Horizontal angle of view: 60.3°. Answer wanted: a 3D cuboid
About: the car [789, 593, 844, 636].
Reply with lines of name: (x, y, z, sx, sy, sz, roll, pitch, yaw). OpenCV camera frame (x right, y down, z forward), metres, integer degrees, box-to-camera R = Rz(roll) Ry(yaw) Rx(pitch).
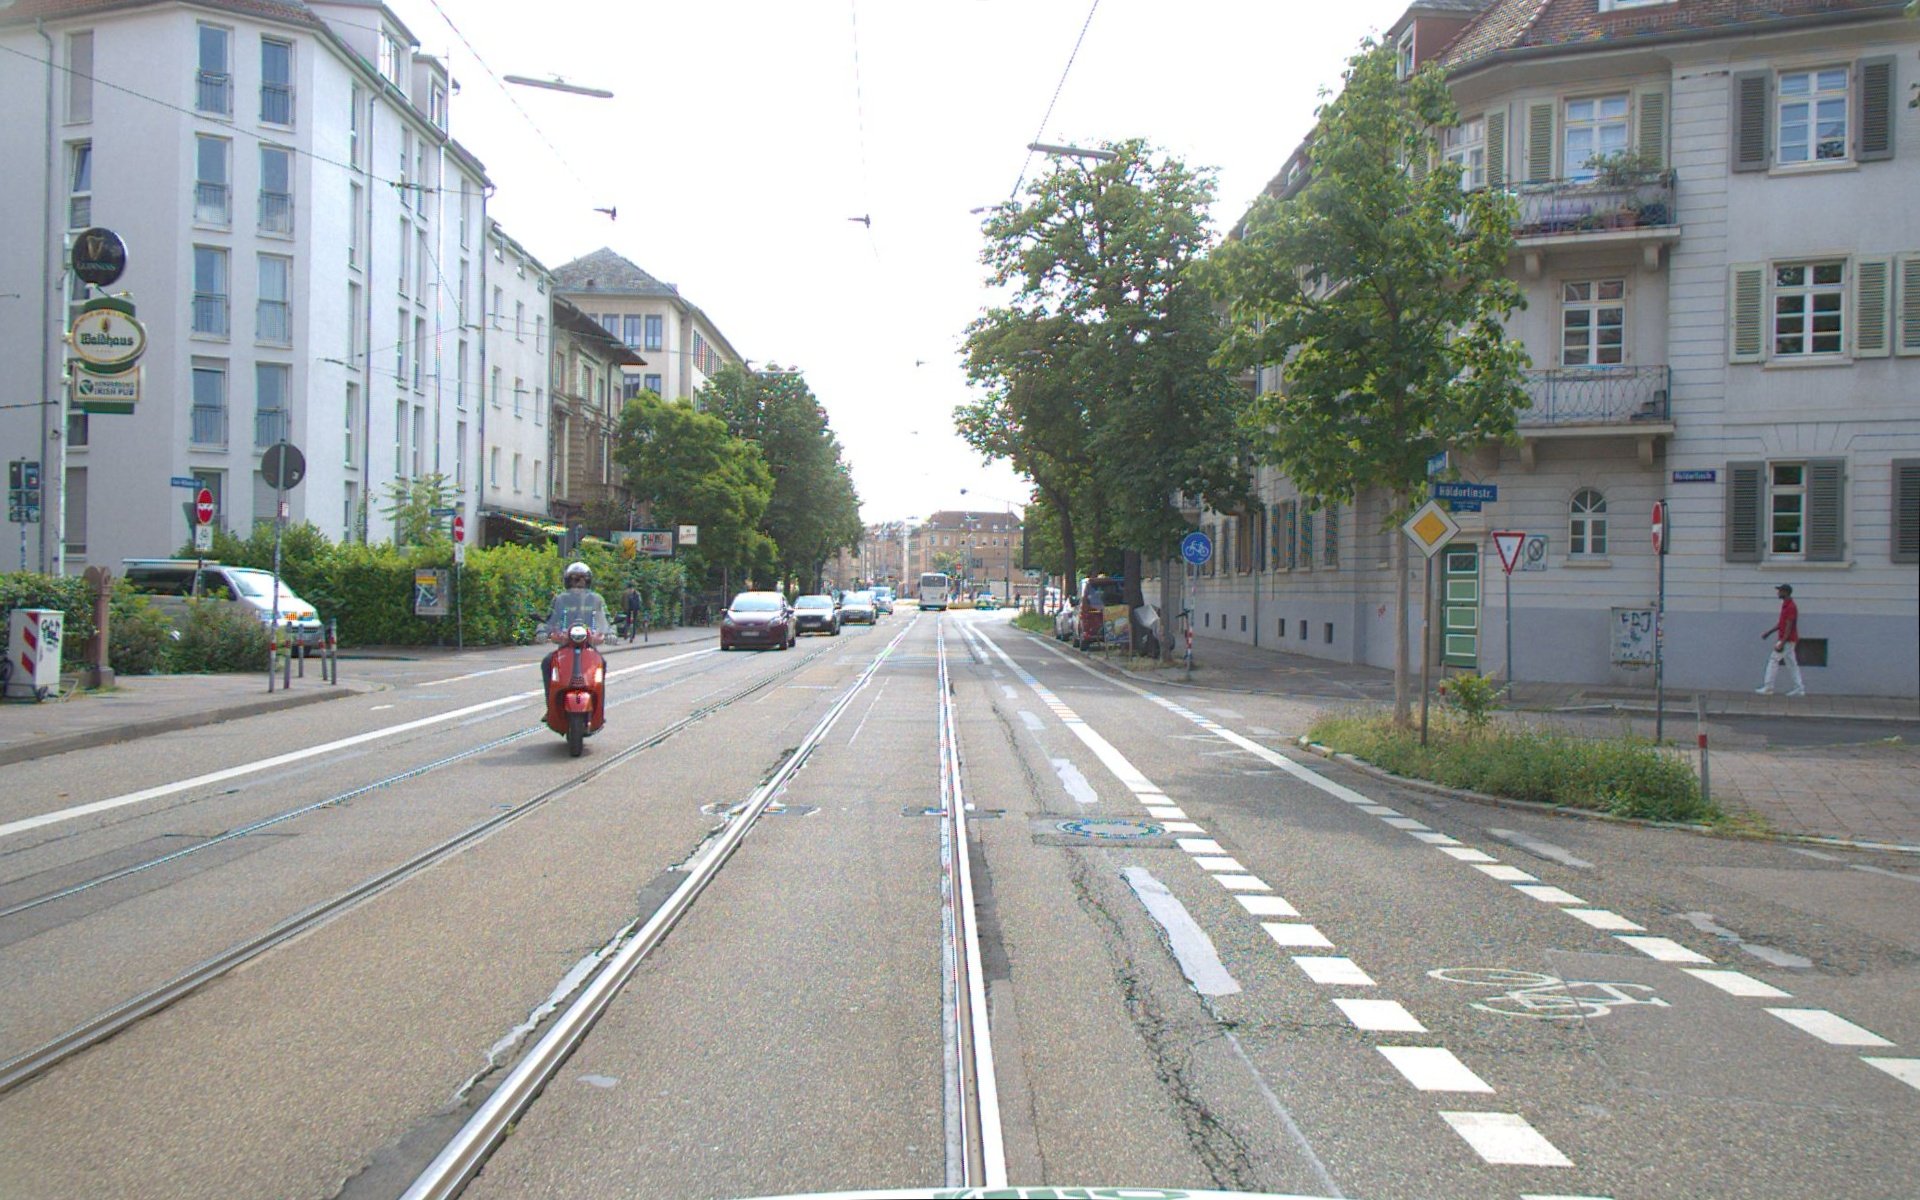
car: (-4.959, 0.474, 57.733, 1.595, 1.431, 4.128, 1, 0, -1)

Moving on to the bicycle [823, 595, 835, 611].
bicycle: (-9.660, 0.198, 121.661, 0.590, 1.116, 2.023, -5, 0, 2)

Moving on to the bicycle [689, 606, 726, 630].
bicycle: (-10.896, 0.765, 71.461, 1.119, 0.924, 2.988, 4, 0, -1)

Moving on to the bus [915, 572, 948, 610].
bus: (-2.684, -0.764, 154.543, 2.859, 3.386, 12.202, 2, 0, -1)

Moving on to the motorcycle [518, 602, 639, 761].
motorcycle: (-3.537, 0.715, 15.503, 0.724, 1.384, 2.087, 1, 0, -3)

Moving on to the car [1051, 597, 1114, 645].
car: (4.087, 0.670, 55.730, 1.672, 1.524, 4.788, 0, 0, -1)

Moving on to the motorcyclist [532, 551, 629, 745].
motorcyclist: (-3.527, 0.434, 15.428, 0.724, 1.744, 0.920, 1, 0, -5)

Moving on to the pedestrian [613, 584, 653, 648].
pedestrian: (-10.065, 0.481, 50.940, 1.037, 1.951, 0.829, 1, 0, 0)

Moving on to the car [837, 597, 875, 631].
car: (-4.989, 0.664, 79.988, 1.692, 1.567, 4.275, 0, 0, -2)

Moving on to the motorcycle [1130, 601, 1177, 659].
motorcycle: (4.663, 0.711, 40.022, 0.840, 1.344, 2.445, 1, 0, 0)

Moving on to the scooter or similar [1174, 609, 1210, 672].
scooter or similar: (4.895, 0.837, 34.919, 0.521, 1.273, 1.720, 0, 0, 0)

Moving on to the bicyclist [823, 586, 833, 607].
bicyclist: (-9.701, -0.246, 121.602, 0.587, 1.518, 0.882, -5, 0, 2)

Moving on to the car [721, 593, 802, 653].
car: (-5.074, 0.564, 42.676, 1.561, 1.465, 3.936, -1, 0, 1)

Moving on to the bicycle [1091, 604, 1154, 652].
bicycle: (4.279, 0.735, 43.565, 1.578, 1.224, 0.589, 1, 0, -4)

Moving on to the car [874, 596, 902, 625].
car: (-5.063, 0.727, 116.874, 1.859, 1.940, 5.382, 0, 0, -2)

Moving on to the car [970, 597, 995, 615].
car: (2.255, 0.568, 165.772, 2.085, 1.713, 4.105, 2, 1, 6)

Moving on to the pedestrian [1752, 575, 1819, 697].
pedestrian: (13.758, 0.590, 27.589, 0.955, 1.971, 0.901, 1, -1, 25)

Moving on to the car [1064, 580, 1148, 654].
car: (4.118, 0.461, 47.366, 1.857, 1.975, 4.949, 0, 0, -1)

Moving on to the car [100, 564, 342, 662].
car: (-16.208, 0.261, 36.277, 4.828, 2.049, 2.050, 0, 0, 21)
